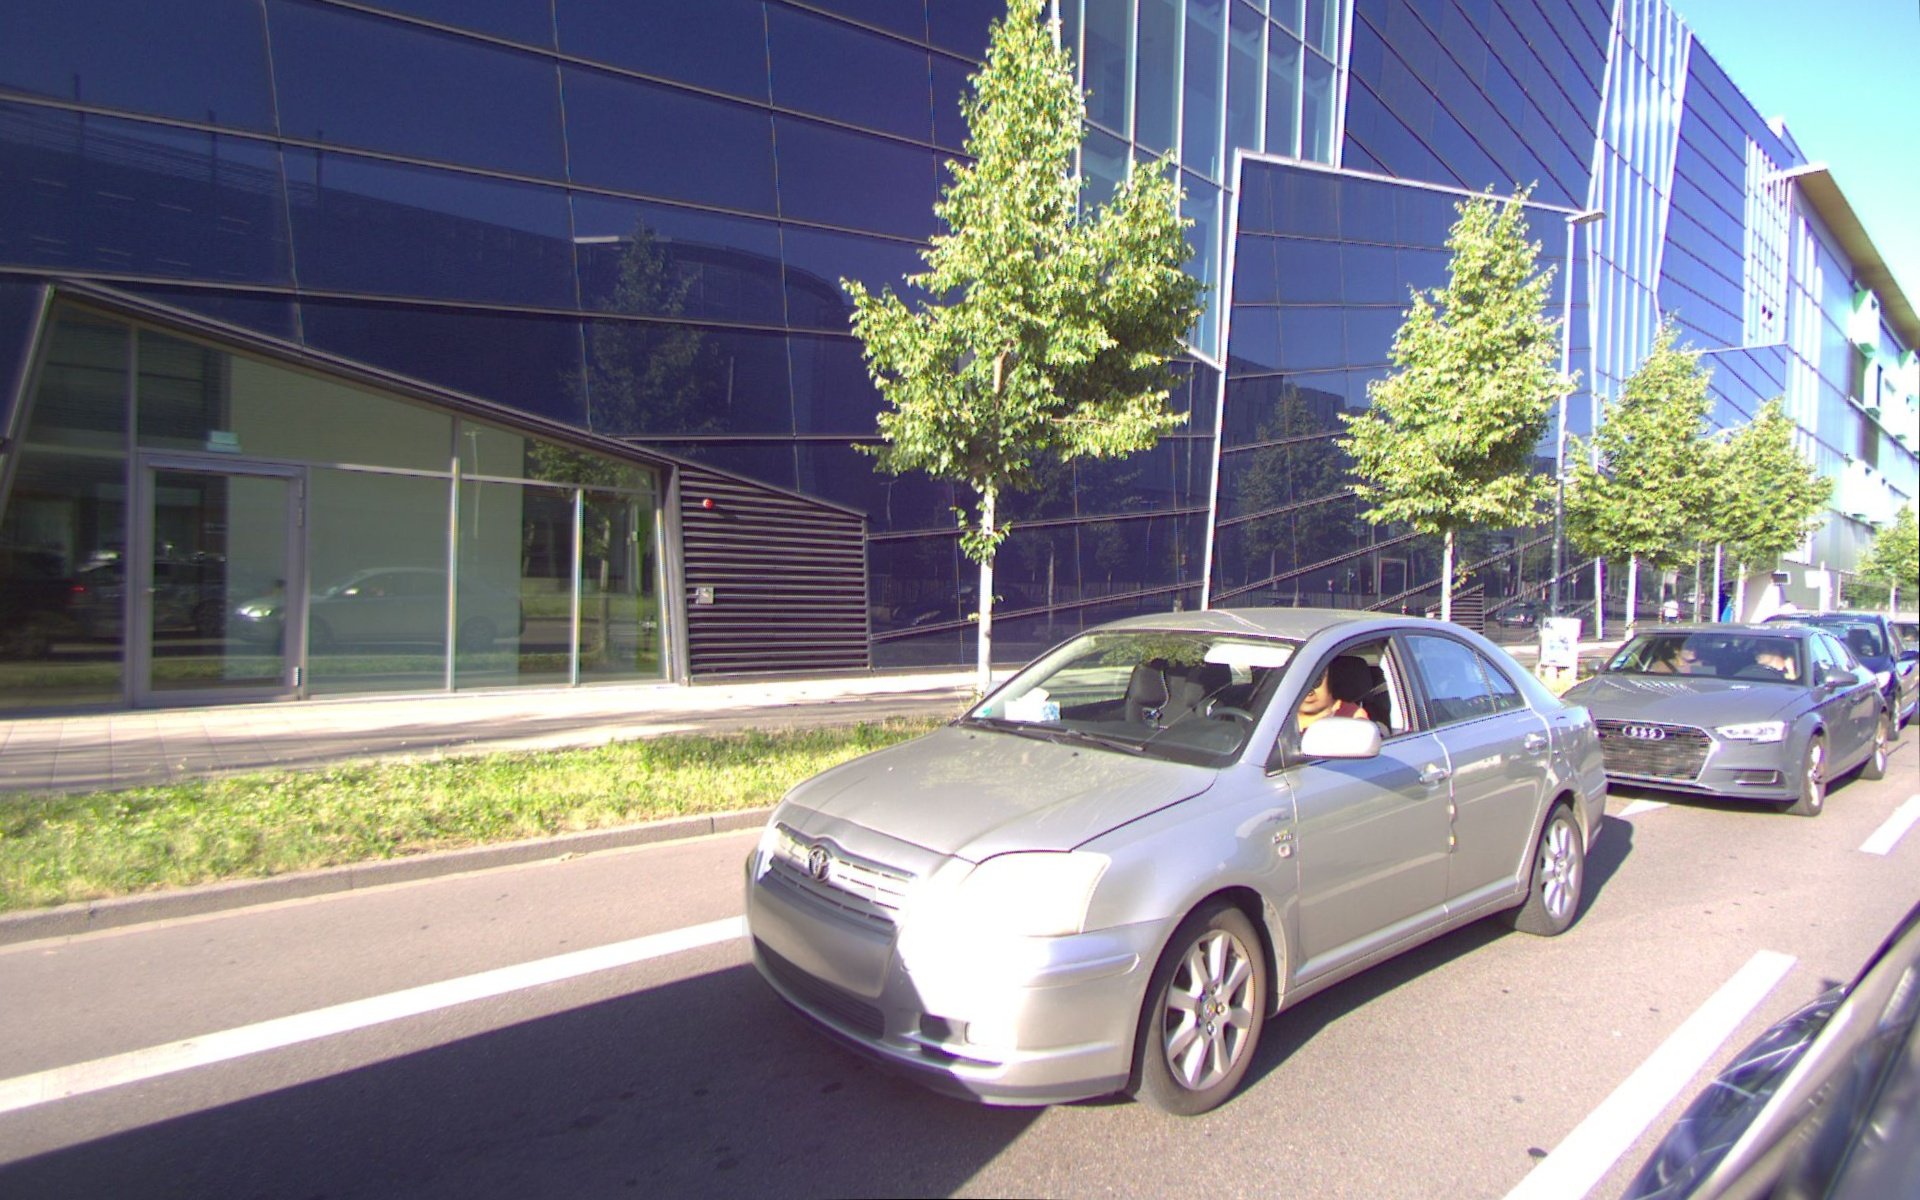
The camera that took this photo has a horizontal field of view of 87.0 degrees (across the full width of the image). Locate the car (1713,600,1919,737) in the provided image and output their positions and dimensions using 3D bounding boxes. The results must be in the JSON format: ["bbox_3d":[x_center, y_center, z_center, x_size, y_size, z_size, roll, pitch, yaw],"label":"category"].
[{"bbox_3d":[11.428,0.782,13.241,3.902,1.497,1.752,1,0,-41],"label":"car"}]

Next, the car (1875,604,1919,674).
[{"bbox_3d":[22.193,0.873,22.951,3.358,1.497,1.752,1,0,-41],"label":"car"}]

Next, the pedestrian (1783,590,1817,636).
[{"bbox_3d":[35.917,0.548,43.283,0.889,1.846,0.829,1,4,-41],"label":"pedestrian"}]

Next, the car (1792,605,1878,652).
[{"bbox_3d":[32.311,1.015,37.330,4.633,1.516,1.739,1,3,-41],"label":"car"}]

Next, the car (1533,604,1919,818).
[{"bbox_3d":[6.815,0.755,8.838,4.187,1.409,1.750,0,0,-39],"label":"car"}]

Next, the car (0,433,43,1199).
[{"bbox_3d":[-3.124,0.623,0.270,4.186,1.717,1.749,0,-1,-41],"label":"car"}]

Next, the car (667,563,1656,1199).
[{"bbox_3d":[1.254,0.644,4.410,4.545,1.500,1.750,0,1,-40],"label":"car"}]
